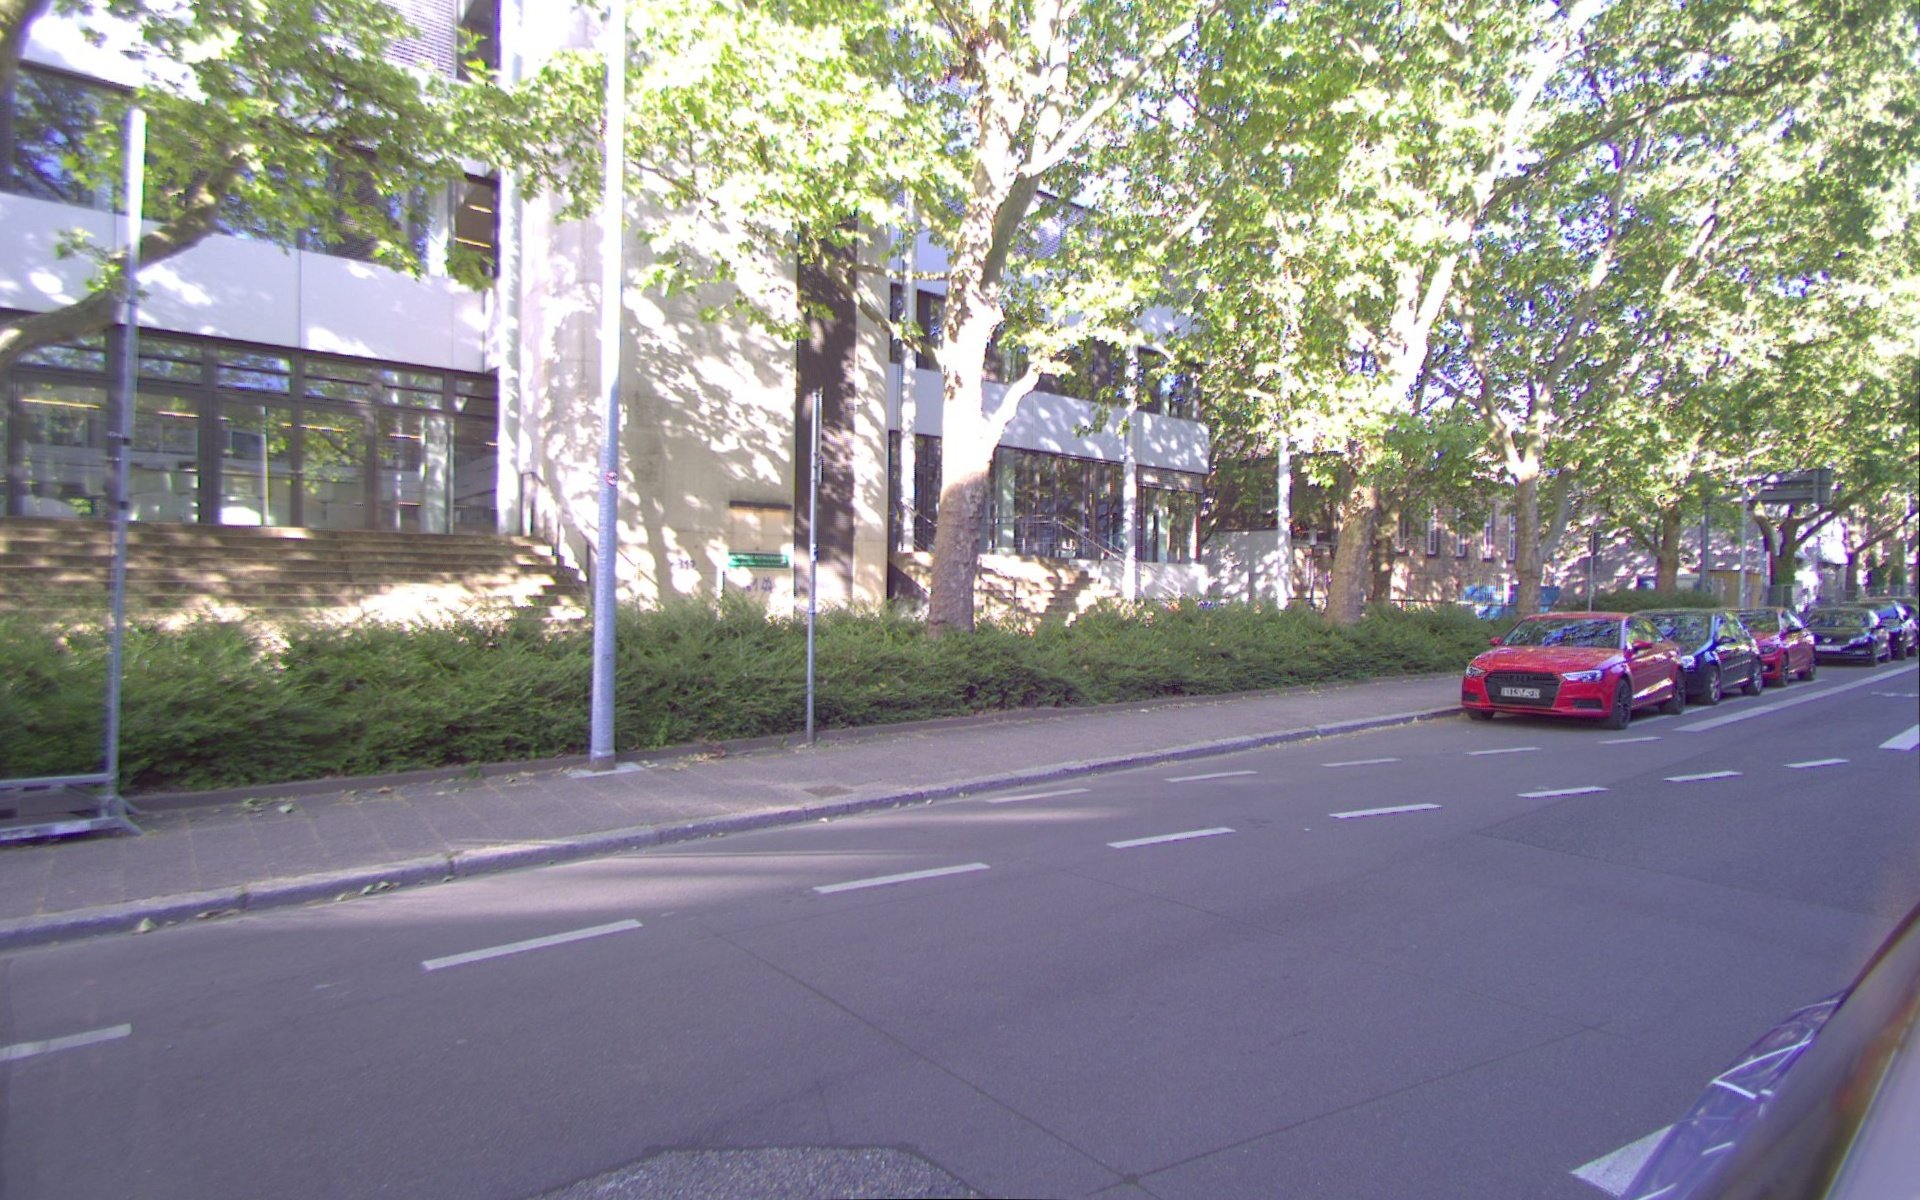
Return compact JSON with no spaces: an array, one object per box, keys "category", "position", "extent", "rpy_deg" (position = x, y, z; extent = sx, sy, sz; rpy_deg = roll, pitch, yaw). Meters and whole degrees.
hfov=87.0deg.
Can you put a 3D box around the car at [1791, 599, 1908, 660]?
[{"category":"car","position":[22.951,0.715,26.079],"extent":[3.841,1.451,1.753],"rpy_deg":[0,-1,-41]}]

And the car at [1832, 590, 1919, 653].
[{"category":"car","position":[26.718,0.585,29.192],"extent":[4.101,1.674,1.753],"rpy_deg":[0,-1,-41]}]

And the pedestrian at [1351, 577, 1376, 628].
[{"category":"pedestrian","position":[13.625,0.084,34.163],"extent":[0.649,1.691,0.525],"rpy_deg":[0,0,-39]}]

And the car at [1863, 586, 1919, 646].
[{"category":"car","position":[30.975,0.485,32.983],"extent":[4.370,1.843,1.753],"rpy_deg":[0,-1,-41]}]

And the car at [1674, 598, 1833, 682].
[{"category":"car","position":[15.707,0.720,19.980],"extent":[3.841,1.486,1.753],"rpy_deg":[0,-1,-41]}]

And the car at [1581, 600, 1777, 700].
[{"category":"car","position":[11.856,0.738,16.603],"extent":[3.841,1.451,1.753],"rpy_deg":[0,-1,-41]}]

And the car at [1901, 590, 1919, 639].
[{"category":"car","position":[36.197,0.515,37.280],"extent":[4.370,1.750,1.753],"rpy_deg":[0,-1,-41]}]

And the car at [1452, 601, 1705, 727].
[{"category":"car","position":[8.291,0.740,13.445],"extent":[3.930,1.427,1.753],"rpy_deg":[0,-1,-41]}]
